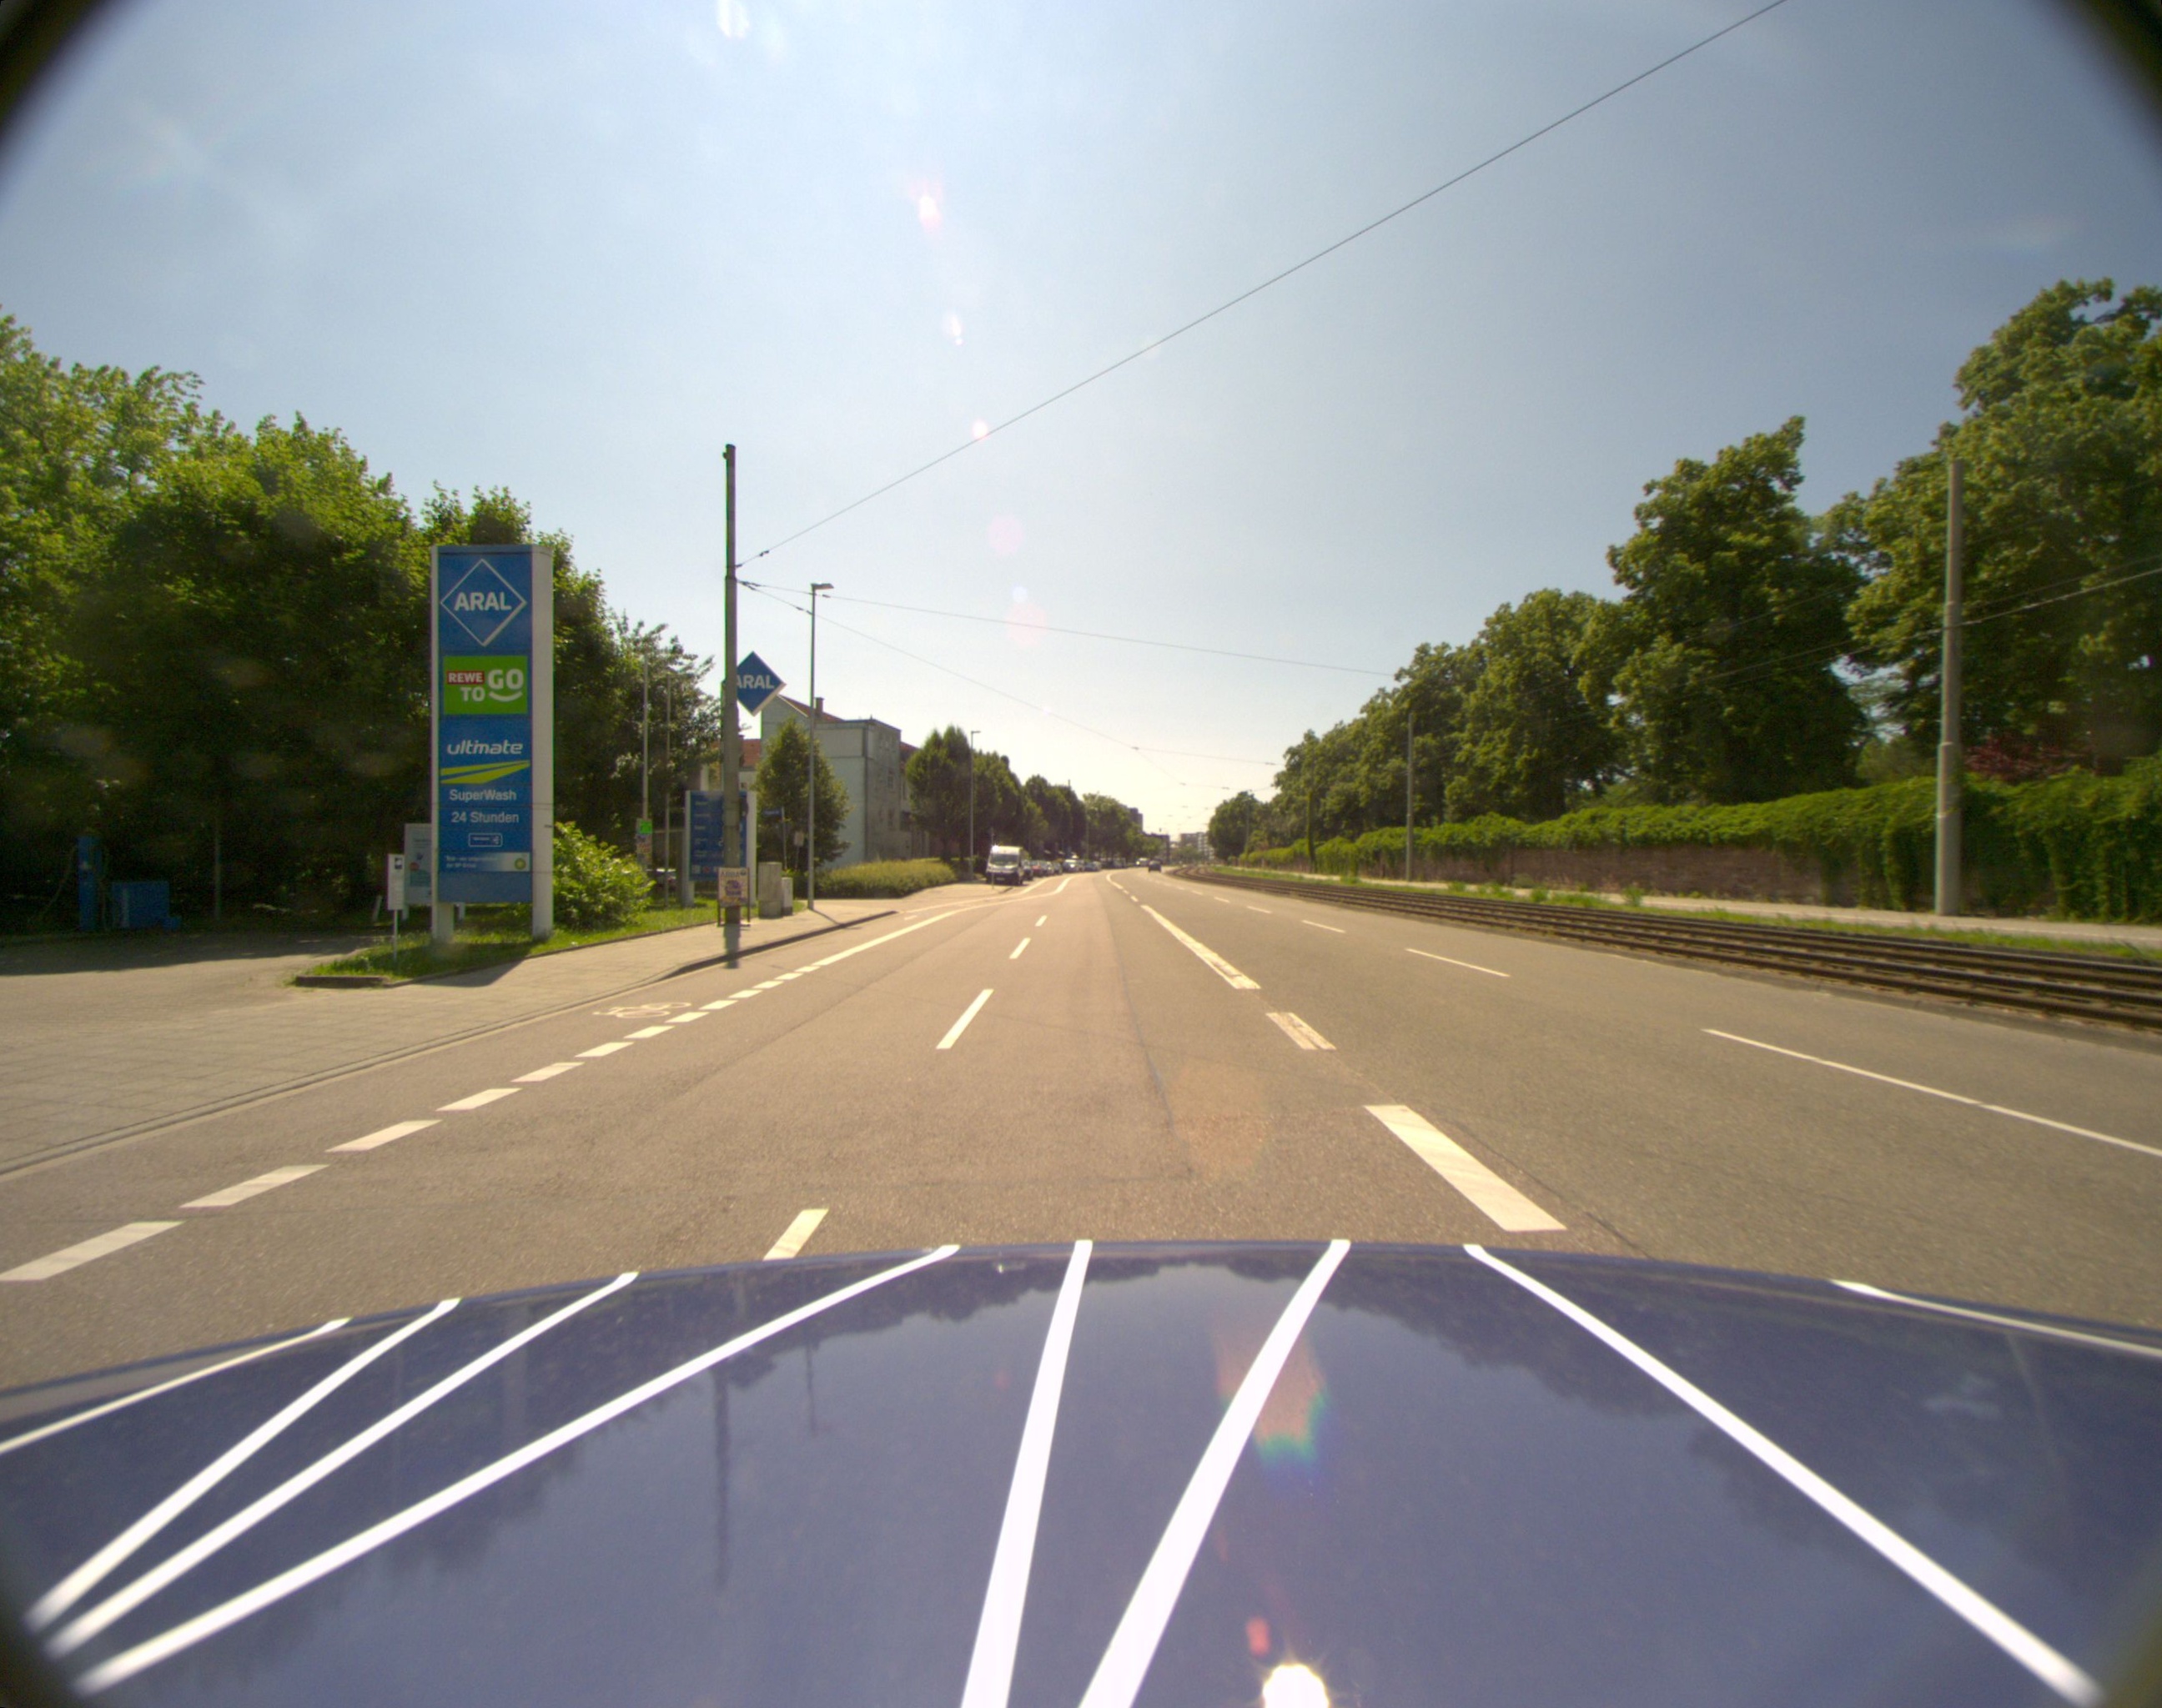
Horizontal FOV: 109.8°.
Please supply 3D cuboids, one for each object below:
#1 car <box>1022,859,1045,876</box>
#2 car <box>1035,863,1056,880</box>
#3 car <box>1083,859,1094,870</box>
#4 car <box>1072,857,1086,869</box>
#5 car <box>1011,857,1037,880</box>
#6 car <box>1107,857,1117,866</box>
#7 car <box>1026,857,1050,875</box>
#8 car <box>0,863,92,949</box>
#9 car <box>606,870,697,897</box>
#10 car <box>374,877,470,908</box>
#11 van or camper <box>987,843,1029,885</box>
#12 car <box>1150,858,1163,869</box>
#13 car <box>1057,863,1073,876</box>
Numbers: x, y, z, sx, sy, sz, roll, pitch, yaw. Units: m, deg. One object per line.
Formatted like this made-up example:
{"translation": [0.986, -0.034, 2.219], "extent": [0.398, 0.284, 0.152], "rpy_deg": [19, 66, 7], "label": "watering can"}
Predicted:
{"translation": [-4.341, 1.208, 69.984], "extent": [1.813, 1.543, 4.001], "rpy_deg": [0, 0, 2], "label": "car"}
{"translation": [-3.748, 1.851, 80.479], "extent": [1.906, 1.652, 4.000], "rpy_deg": [0, 0, 1], "label": "car"}
{"translation": [1.183, 1.619, 118.347], "extent": [1.807, 1.584, 4.000], "rpy_deg": [0, 0, 1], "label": "car"}
{"translation": [-0.311, 1.251, 109.002], "extent": [1.907, 1.707, 4.000], "rpy_deg": [0, 0, 1], "label": "car"}
{"translation": [-4.360, 1.085, 58.581], "extent": [1.827, 1.624, 3.999], "rpy_deg": [2, 0, -2], "label": "car"}
{"translation": [6.044, 1.434, 148.770], "extent": [1.998, 1.717, 4.000], "rpy_deg": [0, 0, 1], "label": "car"}
{"translation": [-4.208, 1.170, 74.901], "extent": [1.998, 1.652, 4.000], "rpy_deg": [0, 0, 1], "label": "car"}
{"translation": [-22.142, 1.040, 13.963], "extent": [1.998, 1.653, 4.412], "rpy_deg": [0, 1, 5], "label": "car"}
{"translation": [-24.799, 1.685, 43.920], "extent": [4.221, 1.512, 2.001], "rpy_deg": [0, 0, 8], "label": "car"}
{"translation": [-33.326, 1.922, 38.436], "extent": [3.991, 1.479, 1.847], "rpy_deg": [0, 0, 17], "label": "car"}
{"translation": [-4.715, 0.638, 49.700], "extent": [2.126, 2.469, 5.993], "rpy_deg": [3, 0, 0], "label": "van or camper"}
{"translation": [10.273, 1.292, 102.950], "extent": [1.695, 1.460, 4.002], "rpy_deg": [0, 0, 6], "label": "car"}
{"translation": [-2.030, 1.966, 98.340], "extent": [1.725, 1.586, 4.001], "rpy_deg": [0, 0, 3], "label": "car"}
